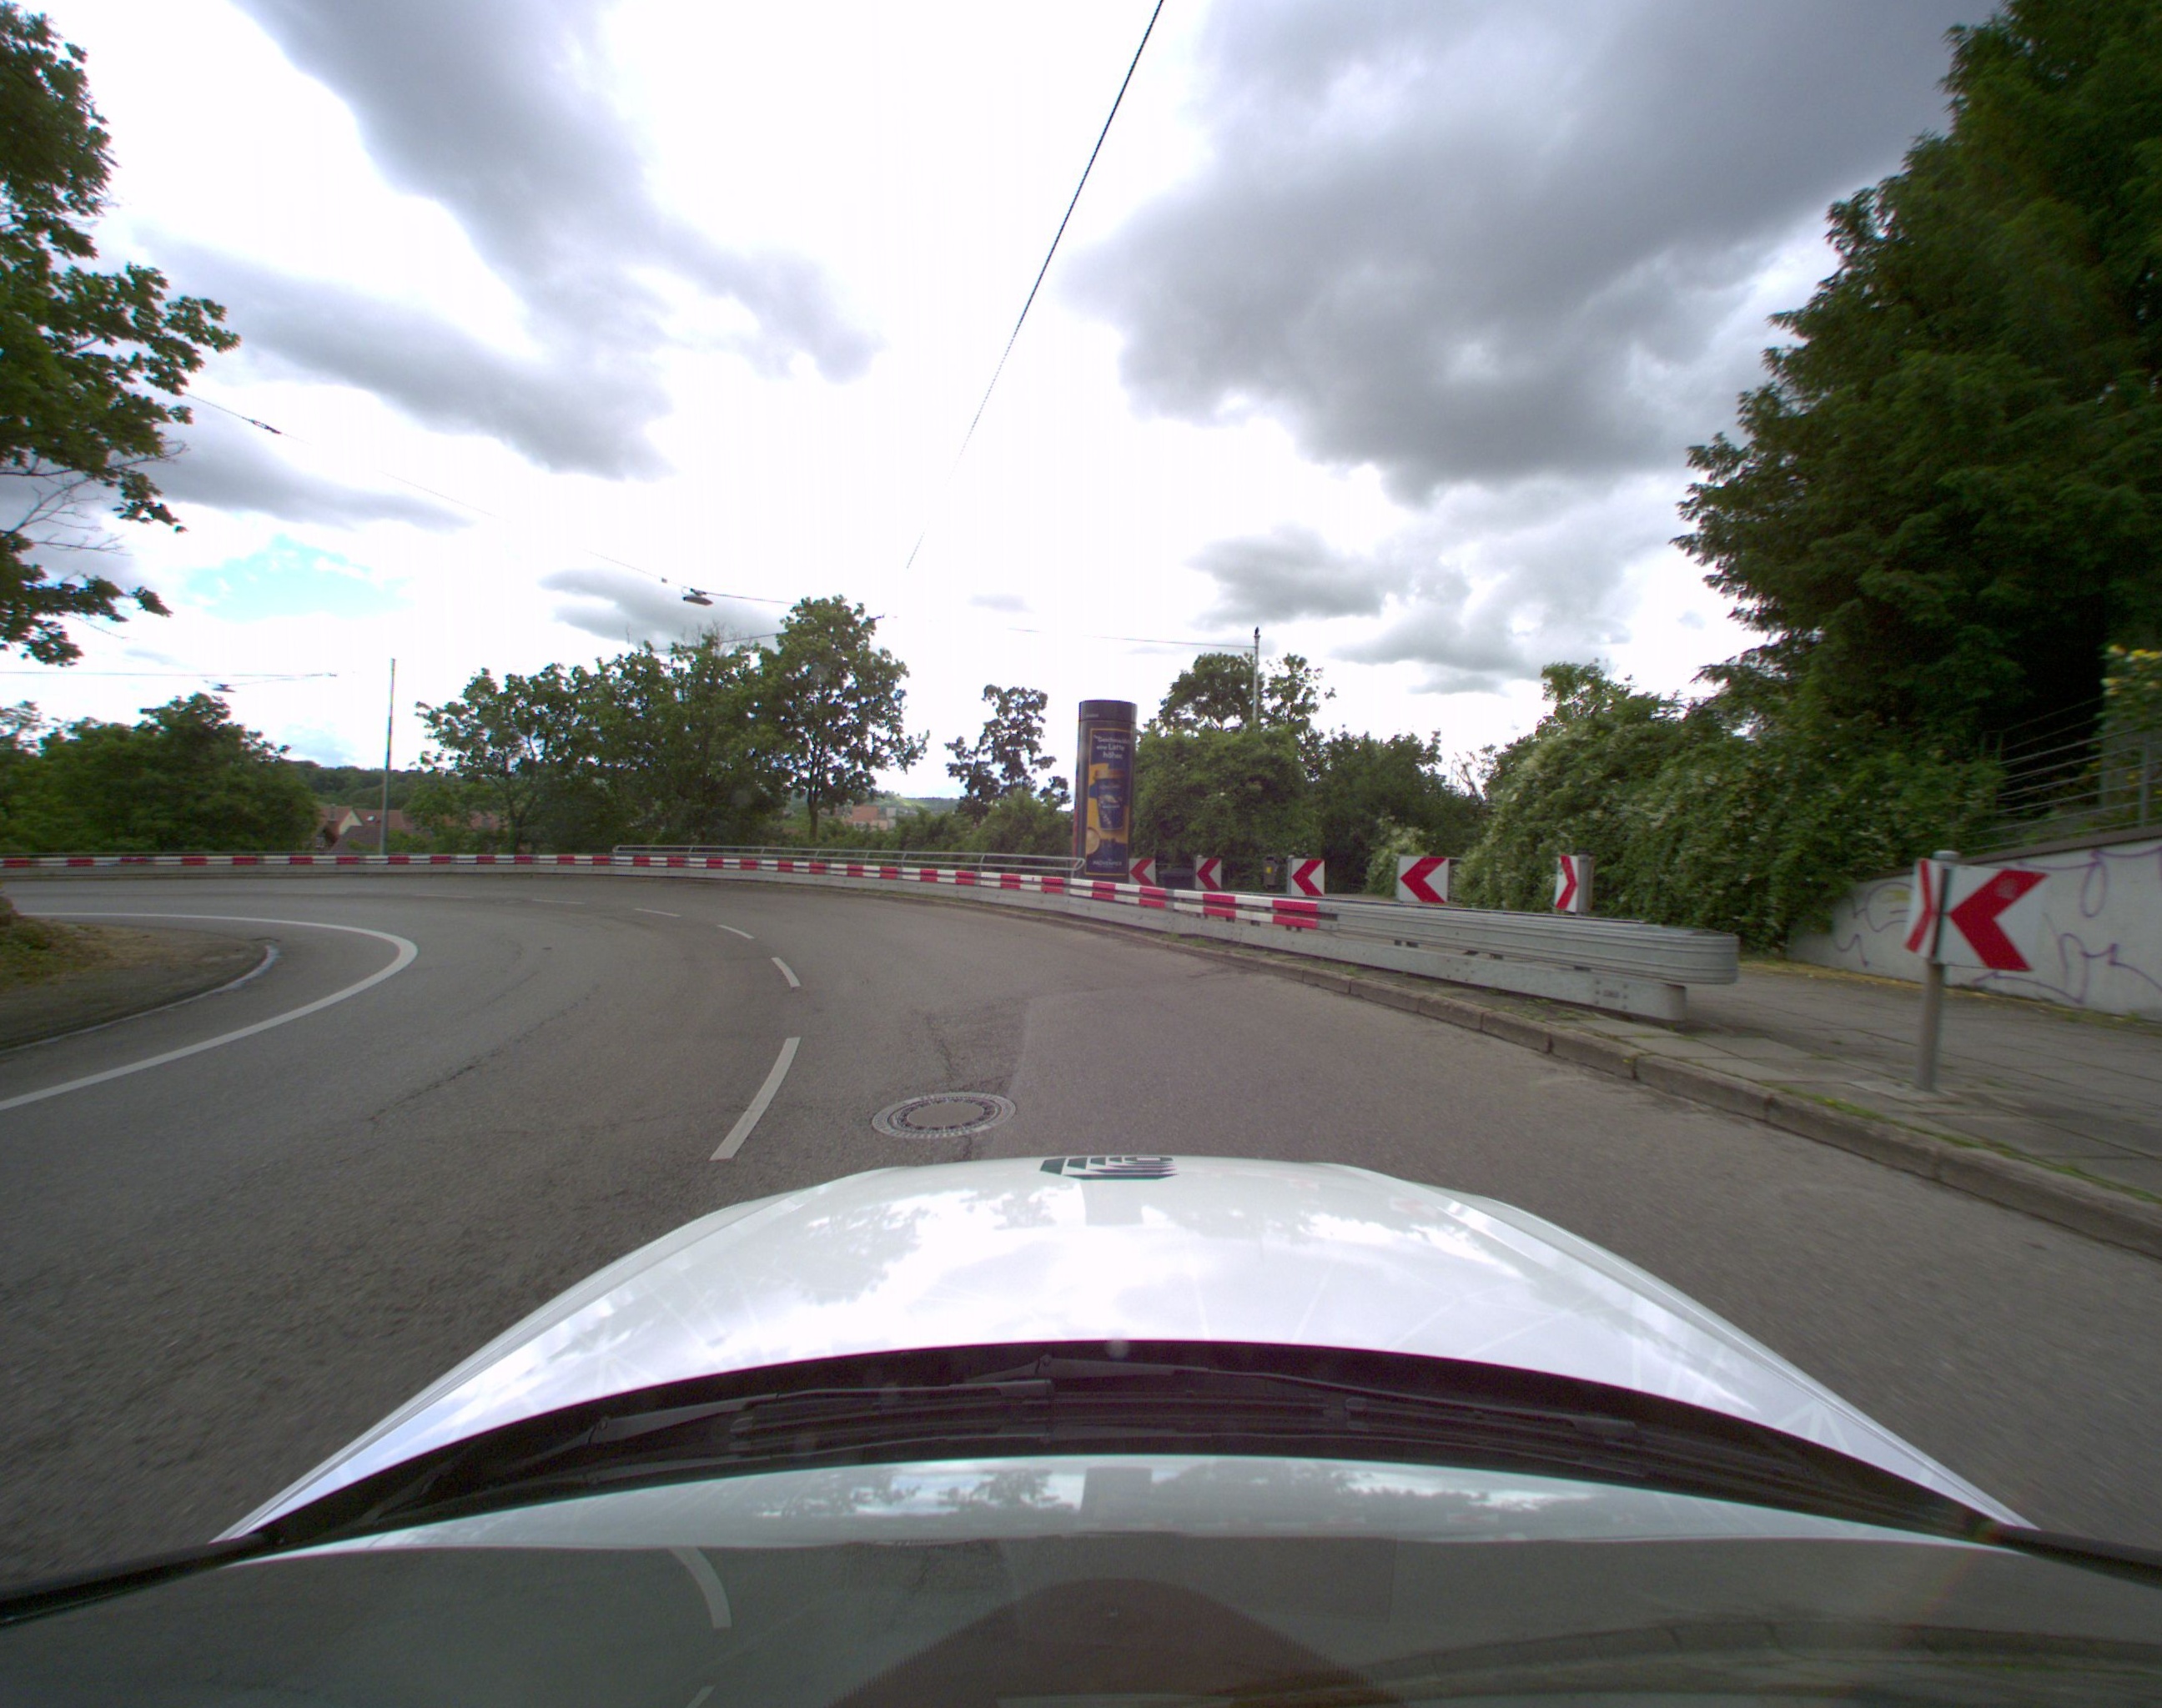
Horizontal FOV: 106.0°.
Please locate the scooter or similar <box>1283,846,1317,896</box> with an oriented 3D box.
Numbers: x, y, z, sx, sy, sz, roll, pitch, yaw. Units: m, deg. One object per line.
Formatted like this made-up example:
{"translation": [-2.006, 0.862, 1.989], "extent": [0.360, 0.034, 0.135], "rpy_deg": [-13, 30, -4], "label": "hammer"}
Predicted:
{"translation": [5.710, 0.419, 21.196], "extent": [0.431, 1.250, 1.510], "rpy_deg": [1, 0, 30], "label": "scooter or similar"}
